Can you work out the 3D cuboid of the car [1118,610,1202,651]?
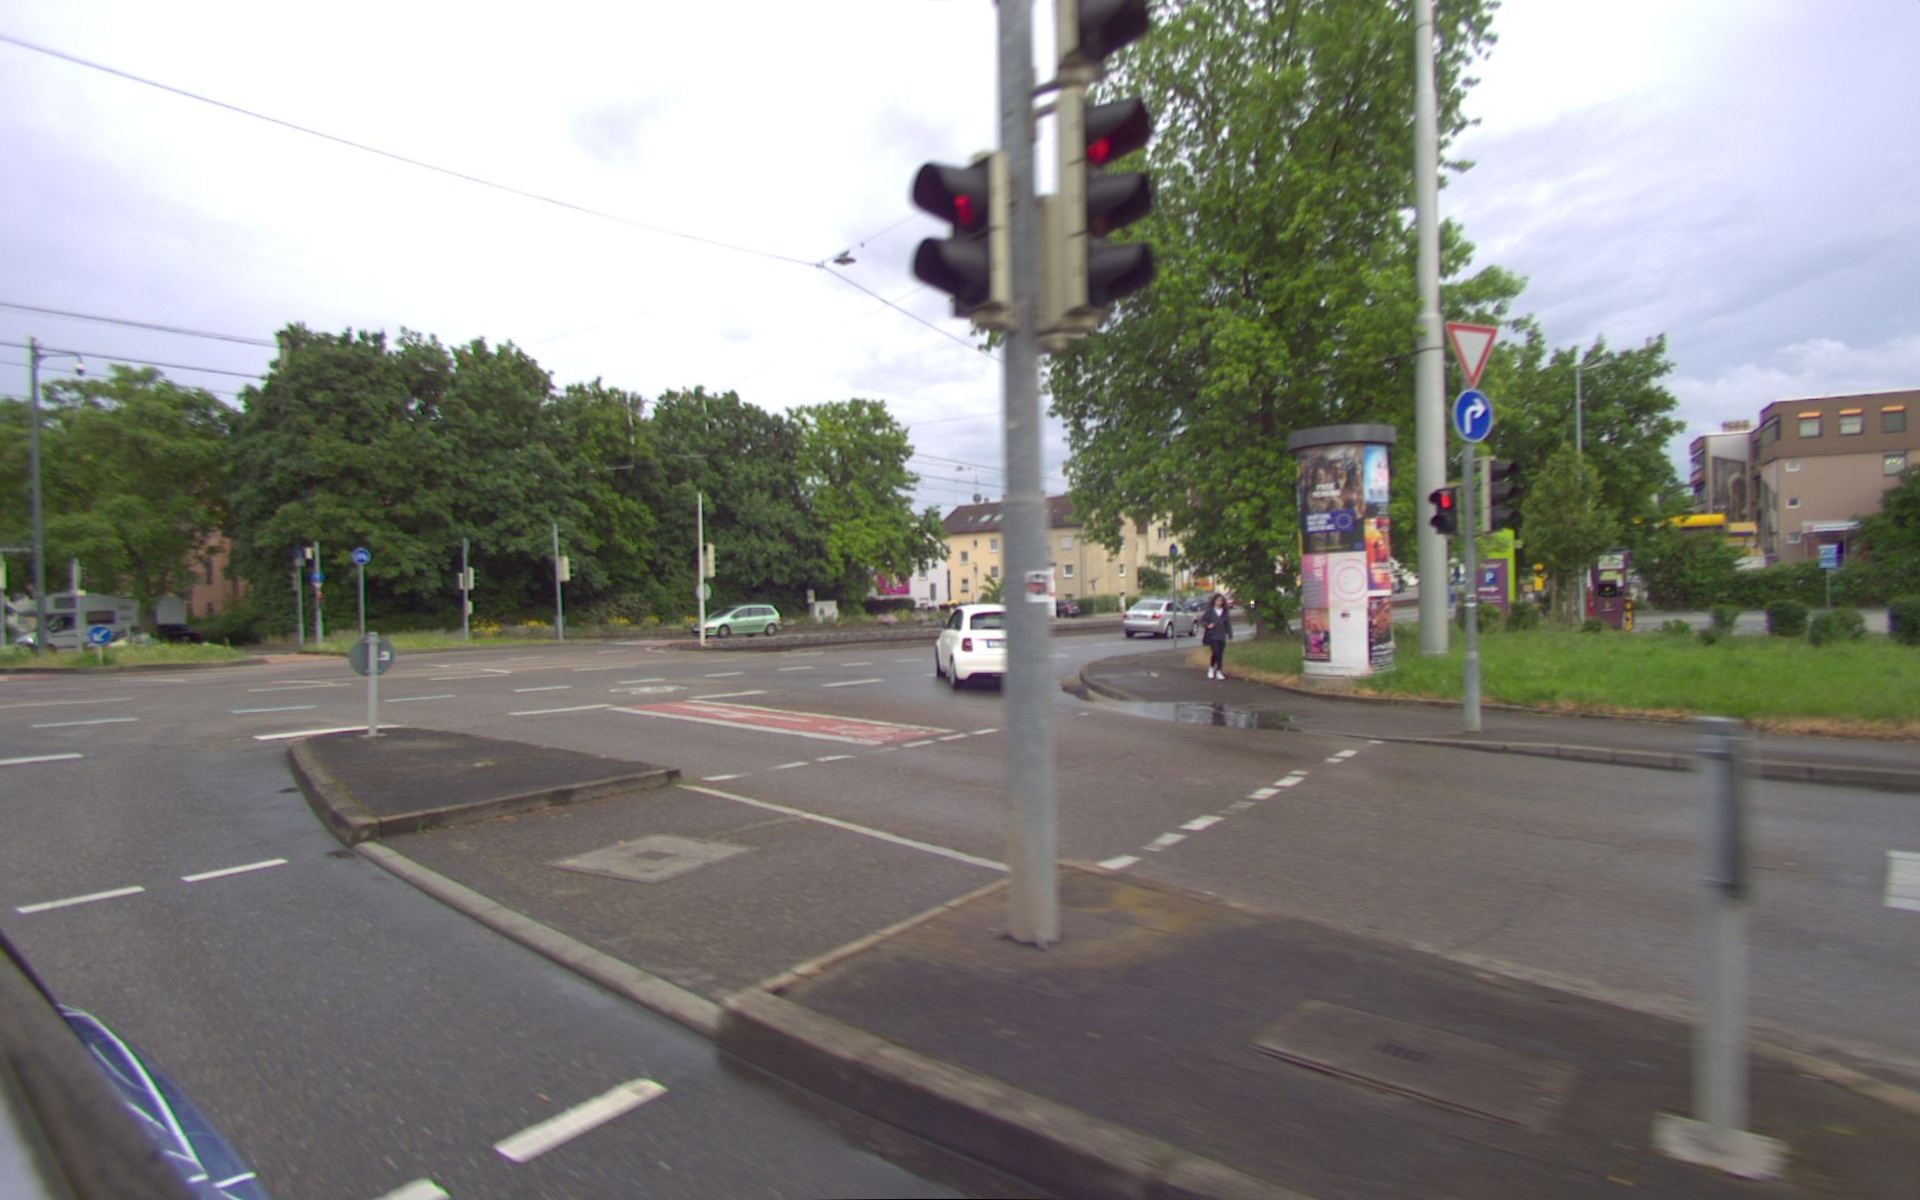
[{"bbox_3d":[7.712,1.150,38.777,1.587,1.448,4.376,-2,-1,33],"label":"car"}]

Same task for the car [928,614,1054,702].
[{"bbox_3d":[0.489,1.026,19.509,1.665,1.494,4.008,0,-1,-9],"label":"car"}]

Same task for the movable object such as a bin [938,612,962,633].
[{"bbox_3d":[-0.705,1.583,71.262,1.186,1.428,1.121,-4,0,37],"label":"movable object such as a bin"}]

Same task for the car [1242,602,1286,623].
[{"bbox_3d":[24.197,0.993,80.449,1.887,1.435,4.146,-4,0,39],"label":"car"}]

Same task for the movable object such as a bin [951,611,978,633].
[{"bbox_3d":[0.319,1.597,72.675,1.313,1.428,1.284,-4,0,37],"label":"movable object such as a bin"}]

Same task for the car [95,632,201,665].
[{"bbox_3d":[-37.206,2.220,46.431,1.673,1.364,3.433,-2,-1,33],"label":"car"}]

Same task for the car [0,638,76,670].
[{"bbox_3d":[-50.349,2.903,54.424,1.833,1.560,3.951,-2,-2,36],"label":"car"}]

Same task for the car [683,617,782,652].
[{"bbox_3d":[-10.331,1.560,46.233,1.887,1.460,4.146,-3,-2,39],"label":"car"}]

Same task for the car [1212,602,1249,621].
[{"bbox_3d":[26.255,1.099,98.152,1.841,1.640,4.046,-4,-1,39],"label":"car"}]

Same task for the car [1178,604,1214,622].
[{"bbox_3d":[21.582,1.209,92.517,1.670,1.454,3.879,-4,-1,38],"label":"car"}]

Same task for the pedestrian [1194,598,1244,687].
[{"bbox_3d":[4.688,0.753,18.367,0.584,1.543,0.669,-4,0,-6],"label":"pedestrian"}]

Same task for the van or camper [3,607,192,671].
[{"bbox_3d":[-40.083,1.762,47.256,2.425,2.776,6.354,-2,-2,35],"label":"van or camper"}]

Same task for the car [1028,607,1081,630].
[{"bbox_3d":[8.138,1.616,87.375,4.288,1.668,1.853,-6,-2,43],"label":"car"}]
